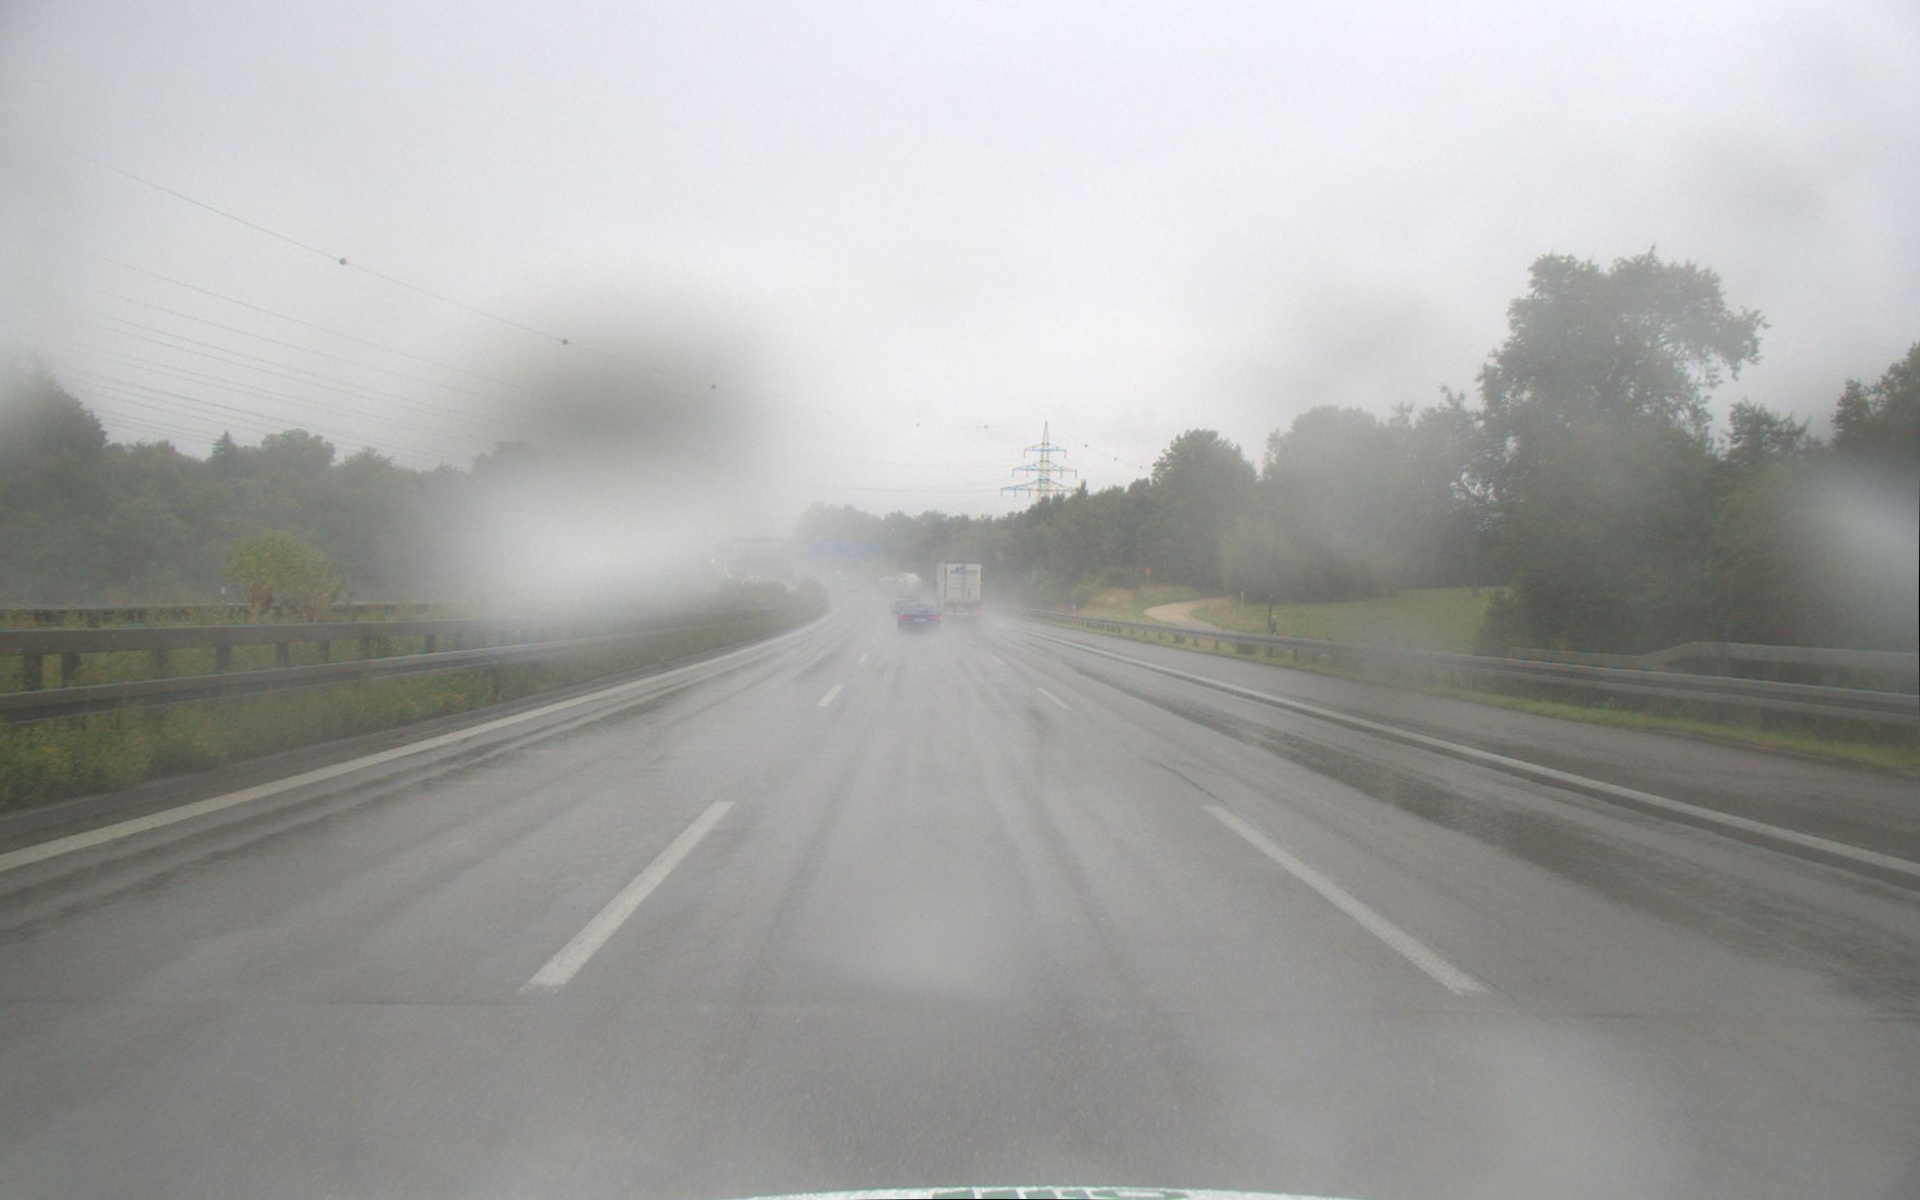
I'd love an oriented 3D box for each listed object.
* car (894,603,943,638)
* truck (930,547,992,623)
[{"bbox_3d":[-1.668,0.819,67.528,1.713,1.233,4.001,4,0,2],"label":"car"},{"bbox_3d":[0.236,-1.077,119.180,4.169,5.059,17.343,0,1,1],"label":"truck"}]
